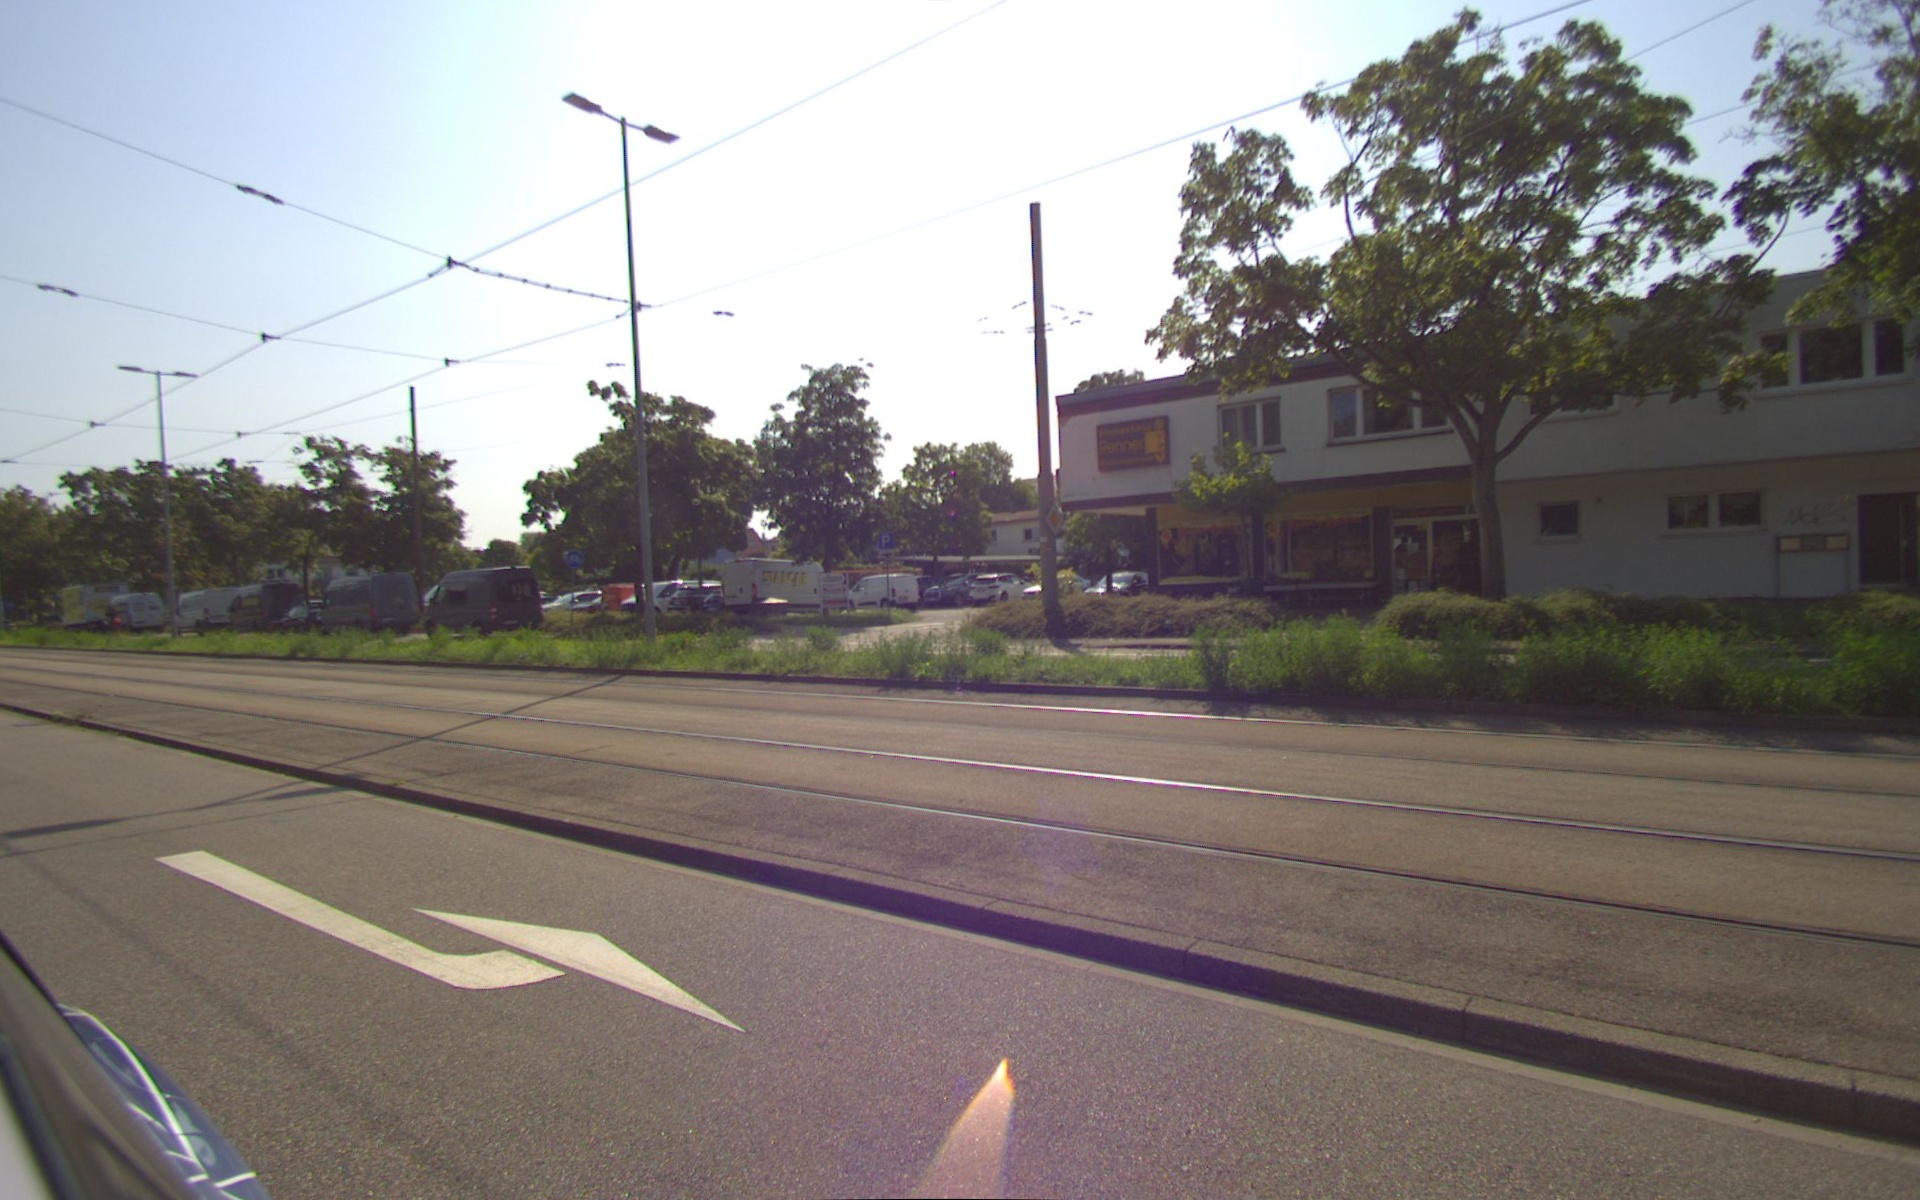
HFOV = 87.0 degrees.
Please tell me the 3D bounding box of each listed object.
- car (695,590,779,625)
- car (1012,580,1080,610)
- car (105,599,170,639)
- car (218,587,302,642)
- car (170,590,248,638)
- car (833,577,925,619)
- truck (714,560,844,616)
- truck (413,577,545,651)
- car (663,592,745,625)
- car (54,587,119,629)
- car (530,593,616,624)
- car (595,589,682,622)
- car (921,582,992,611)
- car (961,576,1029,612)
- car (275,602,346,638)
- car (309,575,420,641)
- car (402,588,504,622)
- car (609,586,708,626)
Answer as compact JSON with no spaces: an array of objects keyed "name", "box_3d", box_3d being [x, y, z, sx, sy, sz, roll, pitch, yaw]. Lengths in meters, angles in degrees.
[{"name":"car","box_3d":[-9.793,0.309,44.535,1.630,1.437,3.374,-1,0,36]},{"name":"car","box_3d":[4.238,-0.256,49.463,1.490,1.353,3.495,-2,1,41]},{"name":"car","box_3d":[-53.423,1.226,65.681,4.823,2.477,2.123,-1,0,36]},{"name":"car","box_3d":[-35.812,0.782,51.726,5.903,2.605,1.805,-2,2,39]},{"name":"car","box_3d":[-42.185,0.795,56.790,5.623,2.606,2.112,-1,0,38]},{"name":"car","box_3d":[-3.942,-0.070,48.542,1.961,1.771,4.423,-4,1,-44]},{"name":"truck","box_3d":[-7.648,-0.495,43.317,2.255,2.189,5.441,-1,0,36]},{"name":"truck","box_3d":[-18.168,0.532,38.065,5.729,2.567,2.062,-1,0,37]},{"name":"car","box_3d":[-11.644,0.375,46.157,1.630,1.437,3.374,-1,0,36]},{"name":"car","box_3d":[-61.433,0.587,71.111,7.221,2.826,2.104,-1,0,38]},{"name":"car","box_3d":[-20.072,0.440,52.707,1.617,1.474,4.131,-2,0,28]},{"name":"car","box_3d":[-15.770,0.270,49.811,1.630,1.530,3.888,-1,0,36]},{"name":"car","box_3d":[-0.178,-0.193,52.413,1.491,1.353,3.664,-2,1,45]},{"name":"car","box_3d":[1.825,-0.318,51.392,1.872,1.513,3.419,-2,3,34]},{"name":"car","box_3d":[-30.882,0.947,48.107,3.830,1.563,1.727,-1,2,40]},{"name":"car","box_3d":[-26.071,0.365,44.175,6.461,2.605,1.969,-1,2,40]},{"name":"car","box_3d":[-30.510,0.259,61.058,2.049,1.940,5.139,-1,0,36]},{"name":"car","box_3d":[-14.083,0.270,47.538,1.630,1.798,4.359,-1,0,36]}]
